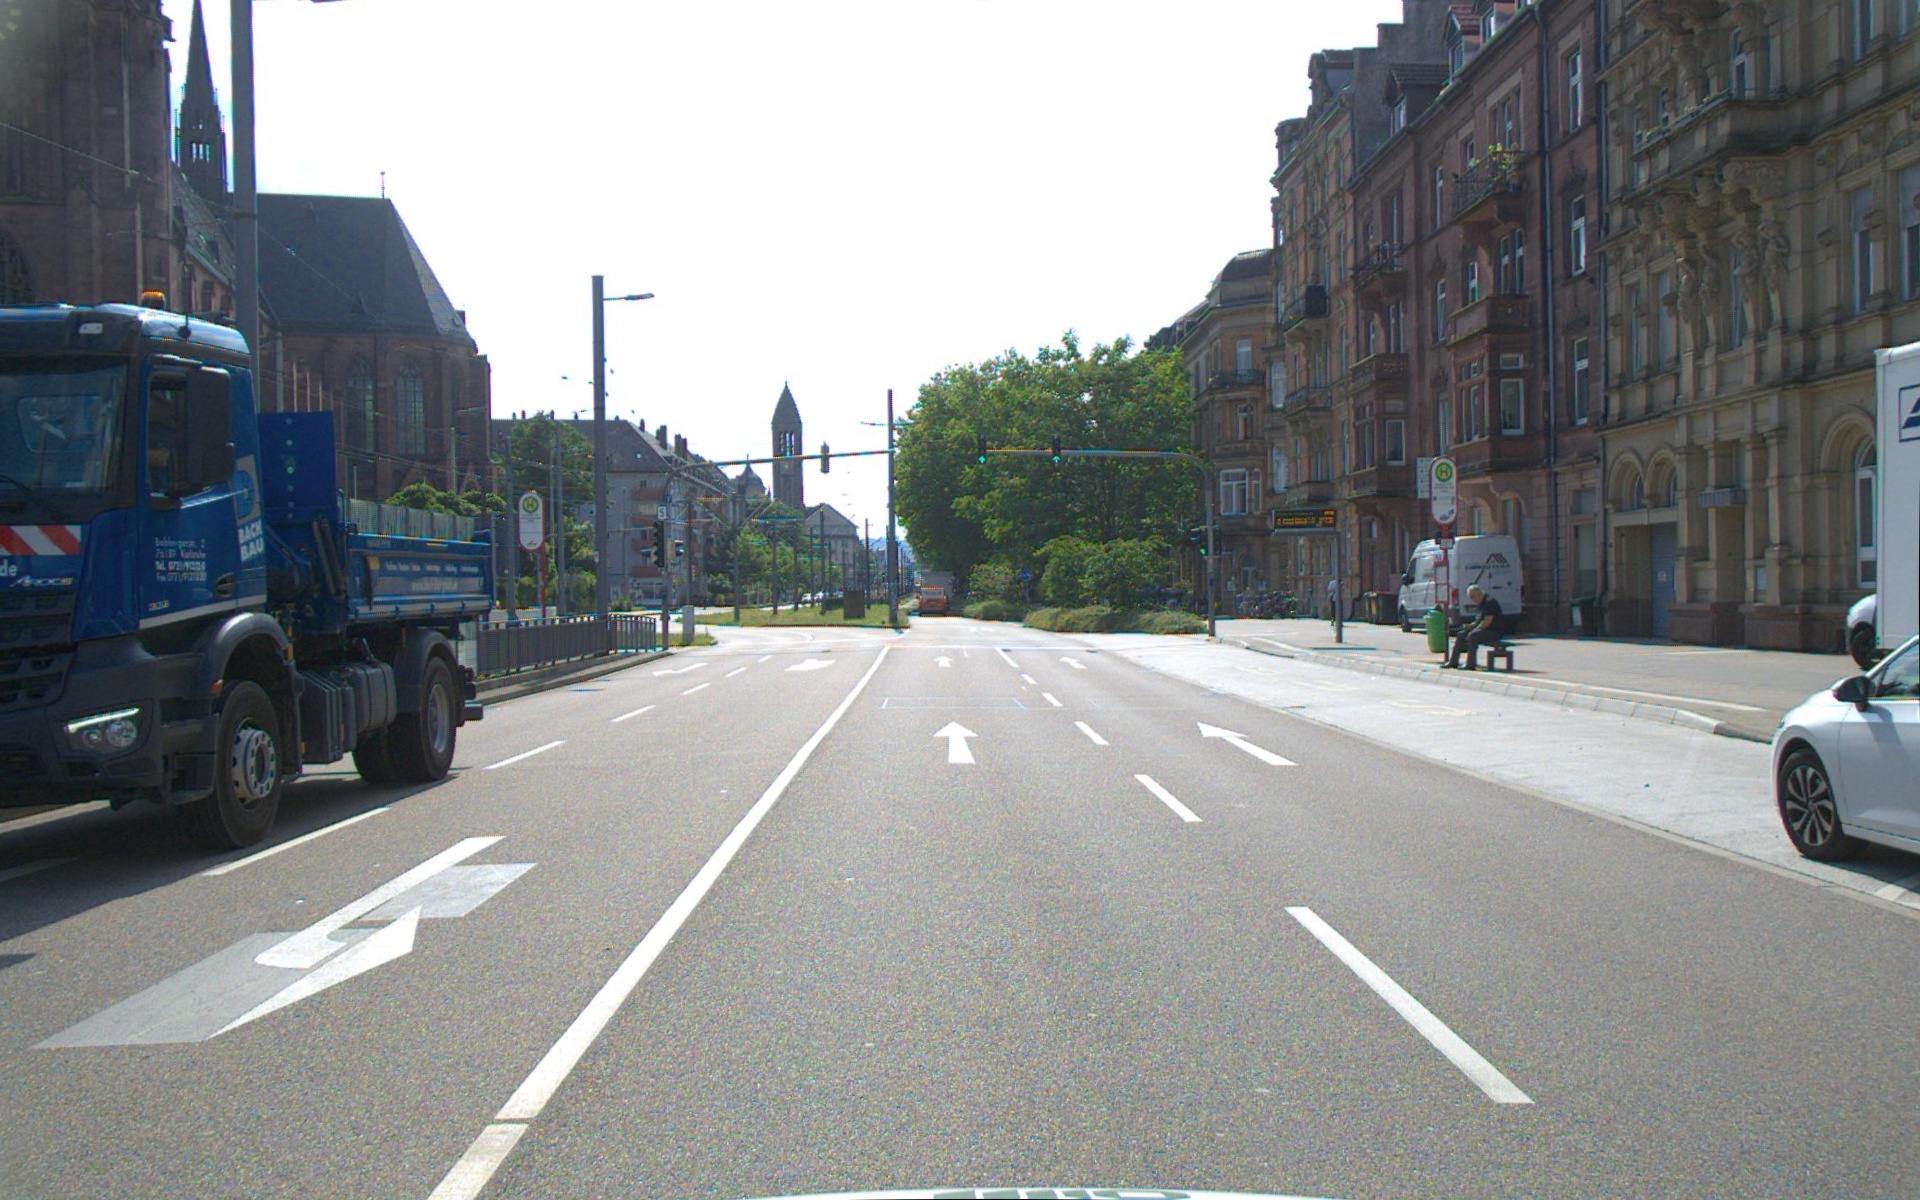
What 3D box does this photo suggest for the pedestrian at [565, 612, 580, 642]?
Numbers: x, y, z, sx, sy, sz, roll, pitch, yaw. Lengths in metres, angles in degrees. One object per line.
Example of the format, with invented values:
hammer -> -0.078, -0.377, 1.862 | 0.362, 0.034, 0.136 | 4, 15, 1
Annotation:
pedestrian -> -27.376, 1.905, 116.911 | 0.789, 2.049, 0.915 | 1, -4, -1

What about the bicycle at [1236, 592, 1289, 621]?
bicycle -> 12.966, 0.267, 70.858 | 2.147, 1.201, 0.683 | -1, 0, -6

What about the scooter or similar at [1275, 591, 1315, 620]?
scooter or similar -> 13.402, 0.220, 66.159 | 1.533, 1.117, 0.451 | -1, 0, 3

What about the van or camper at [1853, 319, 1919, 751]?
van or camper -> 8.836, -0.533, 10.068 | 2.656, 3.389, 7.639 | -1, 0, 0

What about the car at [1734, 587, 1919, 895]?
car -> 5.539, 0.650, 7.724 | 1.754, 1.462, 4.343 | -4, -1, 1

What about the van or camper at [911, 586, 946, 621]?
van or camper -> -2.078, 0.252, 109.256 | 1.970, 1.948, 4.517 | 2, -4, -5

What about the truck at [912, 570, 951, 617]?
truck -> -2.352, -0.510, 139.393 | 3.105, 3.344, 7.294 | 0, -4, 0

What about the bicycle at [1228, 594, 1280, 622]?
bicycle -> 12.840, 0.357, 72.271 | 2.147, 1.201, 0.683 | -1, 0, -6

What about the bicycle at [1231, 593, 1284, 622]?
bicycle -> 12.874, 0.313, 71.592 | 2.147, 1.201, 0.683 | -1, 0, -6

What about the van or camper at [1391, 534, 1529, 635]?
van or camper -> 13.492, -0.405, 45.027 | 1.953, 2.517, 5.564 | -1, 0, -1

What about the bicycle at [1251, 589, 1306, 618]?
bicycle -> 13.246, 0.136, 68.747 | 2.147, 1.201, 0.683 | -1, 0, -6

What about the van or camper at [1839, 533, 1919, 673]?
van or camper -> 14.270, -0.008, 21.923 | 1.955, 1.938, 5.292 | -3, 0, -6

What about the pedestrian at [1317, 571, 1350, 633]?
pedestrian -> 12.641, 0.076, 56.023 | 0.868, 2.049, 0.996 | 1, -1, -1

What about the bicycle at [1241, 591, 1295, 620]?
bicycle -> 13.047, 0.223, 70.155 | 2.147, 1.201, 0.683 | -1, 0, -6

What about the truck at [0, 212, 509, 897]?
truck -> -5.697, -0.245, 12.708 | 2.413, 3.712, 7.448 | -1, 0, -1

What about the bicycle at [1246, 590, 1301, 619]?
bicycle -> 13.161, 0.184, 69.510 | 2.147, 1.201, 0.683 | -1, 0, -6

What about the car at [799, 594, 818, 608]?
car -> -20.334, 0.166, 221.693 | 1.952, 1.825, 4.001 | -1, 0, 2

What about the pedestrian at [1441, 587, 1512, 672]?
pedestrian -> 8.336, 0.467, 26.703 | 0.737, 1.339, 0.810 | 2, -1, -40
